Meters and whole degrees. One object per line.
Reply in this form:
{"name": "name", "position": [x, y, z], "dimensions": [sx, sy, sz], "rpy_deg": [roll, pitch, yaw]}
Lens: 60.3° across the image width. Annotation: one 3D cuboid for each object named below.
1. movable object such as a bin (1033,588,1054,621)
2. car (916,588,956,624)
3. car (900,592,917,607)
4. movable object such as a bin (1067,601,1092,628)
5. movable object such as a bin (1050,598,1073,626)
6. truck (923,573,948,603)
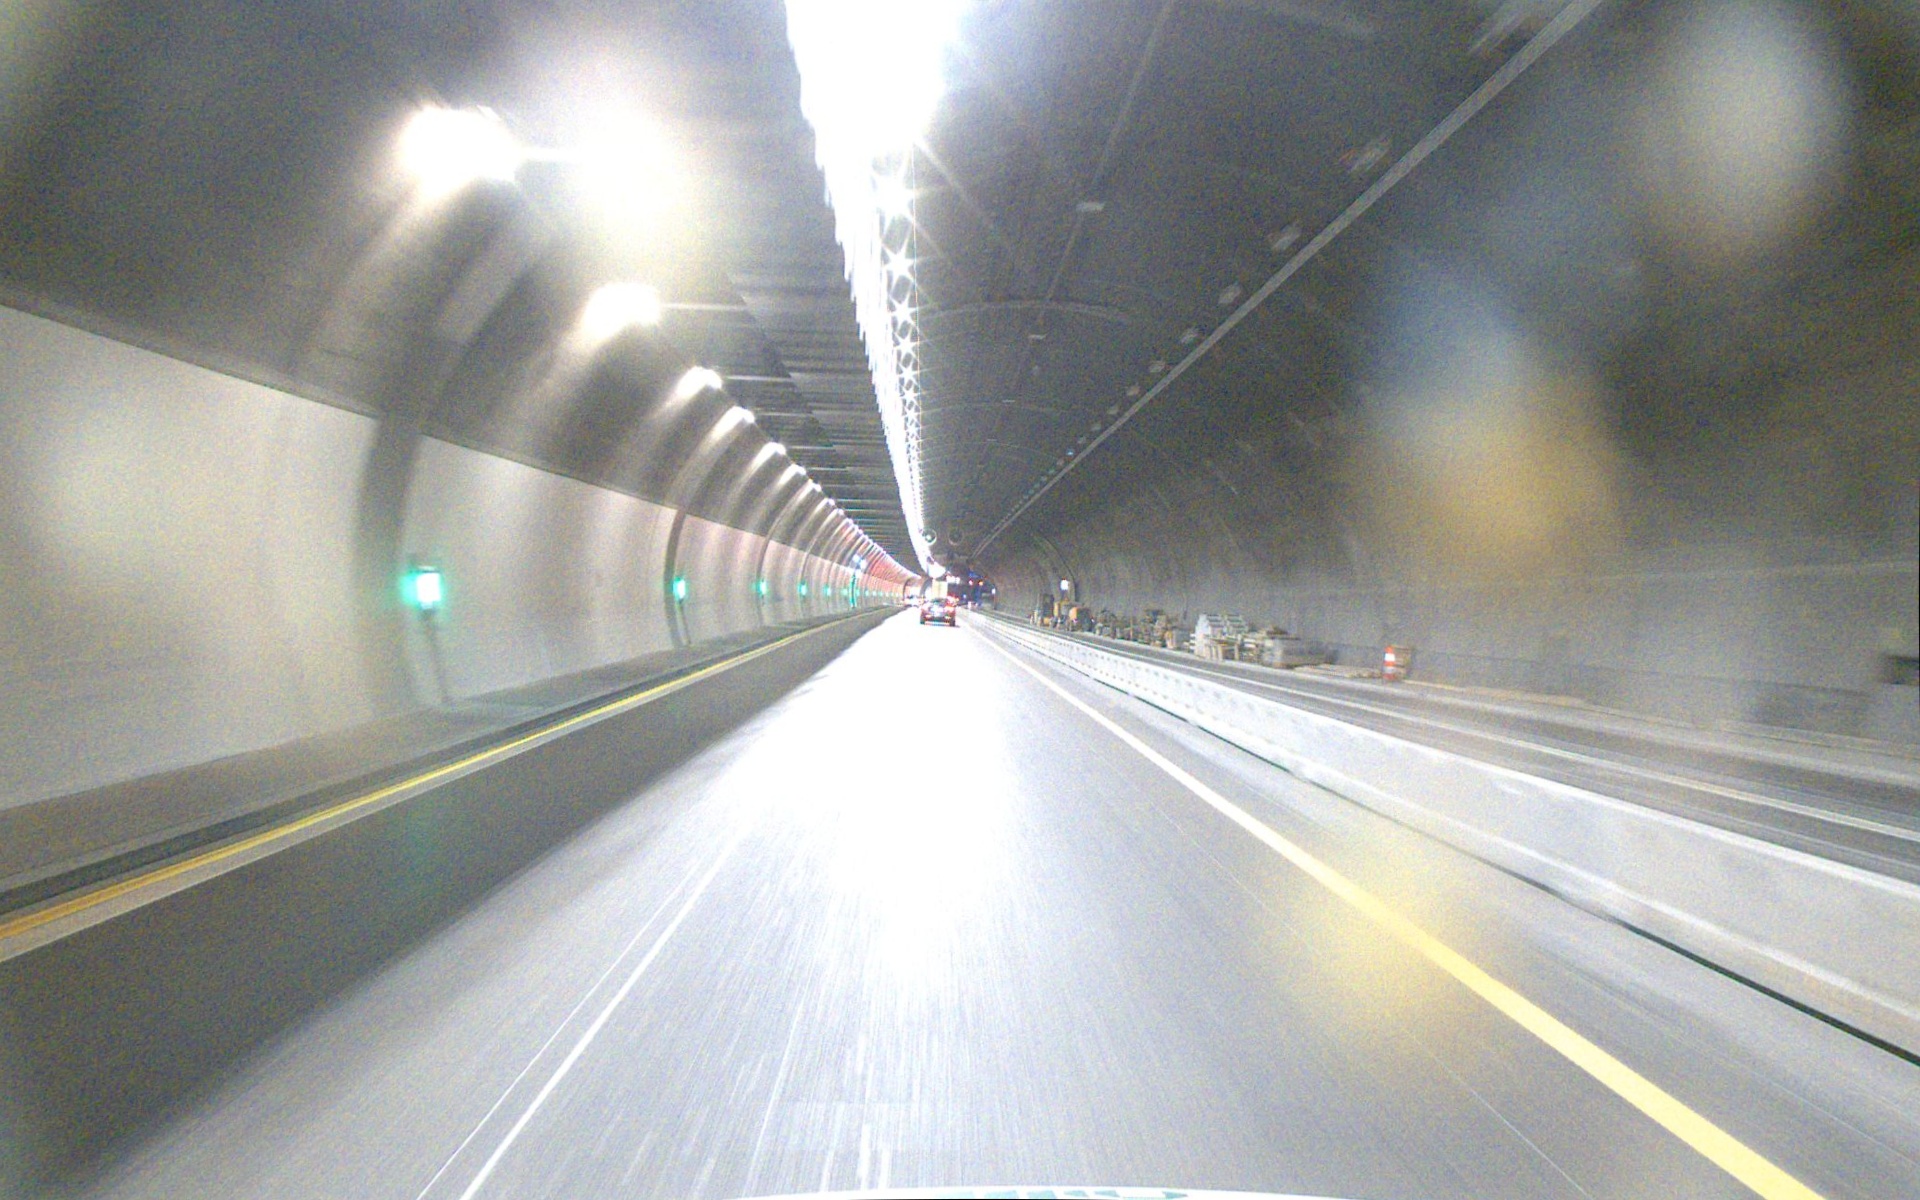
{"name": "movable object such as a bin", "position": [5.689, 0.302, 113.020], "dimensions": [1.210, 2.178, 2.216], "rpy_deg": [2, 0, -2]}
{"name": "car", "position": [-1.294, 0.306, 86.291], "dimensions": [1.908, 1.826, 3.997], "rpy_deg": [0, 0, -4]}
{"name": "car", "position": [-6.081, -0.061, 195.987], "dimensions": [1.891, 1.716, 3.999], "rpy_deg": [0, 0, -1]}
{"name": "movable object such as a bin", "position": [6.864, 0.834, 95.013], "dimensions": [1.210, 1.467, 2.216], "rpy_deg": [2, 0, -2]}
{"name": "movable object such as a bin", "position": [6.541, 0.781, 106.371], "dimensions": [1.210, 1.748, 2.216], "rpy_deg": [2, 0, -2]}
{"name": "truck", "position": [-3.956, -1.940, 265.246], "dimensions": [3.984, 4.612, 14.961], "rpy_deg": [0, 0, -1]}
